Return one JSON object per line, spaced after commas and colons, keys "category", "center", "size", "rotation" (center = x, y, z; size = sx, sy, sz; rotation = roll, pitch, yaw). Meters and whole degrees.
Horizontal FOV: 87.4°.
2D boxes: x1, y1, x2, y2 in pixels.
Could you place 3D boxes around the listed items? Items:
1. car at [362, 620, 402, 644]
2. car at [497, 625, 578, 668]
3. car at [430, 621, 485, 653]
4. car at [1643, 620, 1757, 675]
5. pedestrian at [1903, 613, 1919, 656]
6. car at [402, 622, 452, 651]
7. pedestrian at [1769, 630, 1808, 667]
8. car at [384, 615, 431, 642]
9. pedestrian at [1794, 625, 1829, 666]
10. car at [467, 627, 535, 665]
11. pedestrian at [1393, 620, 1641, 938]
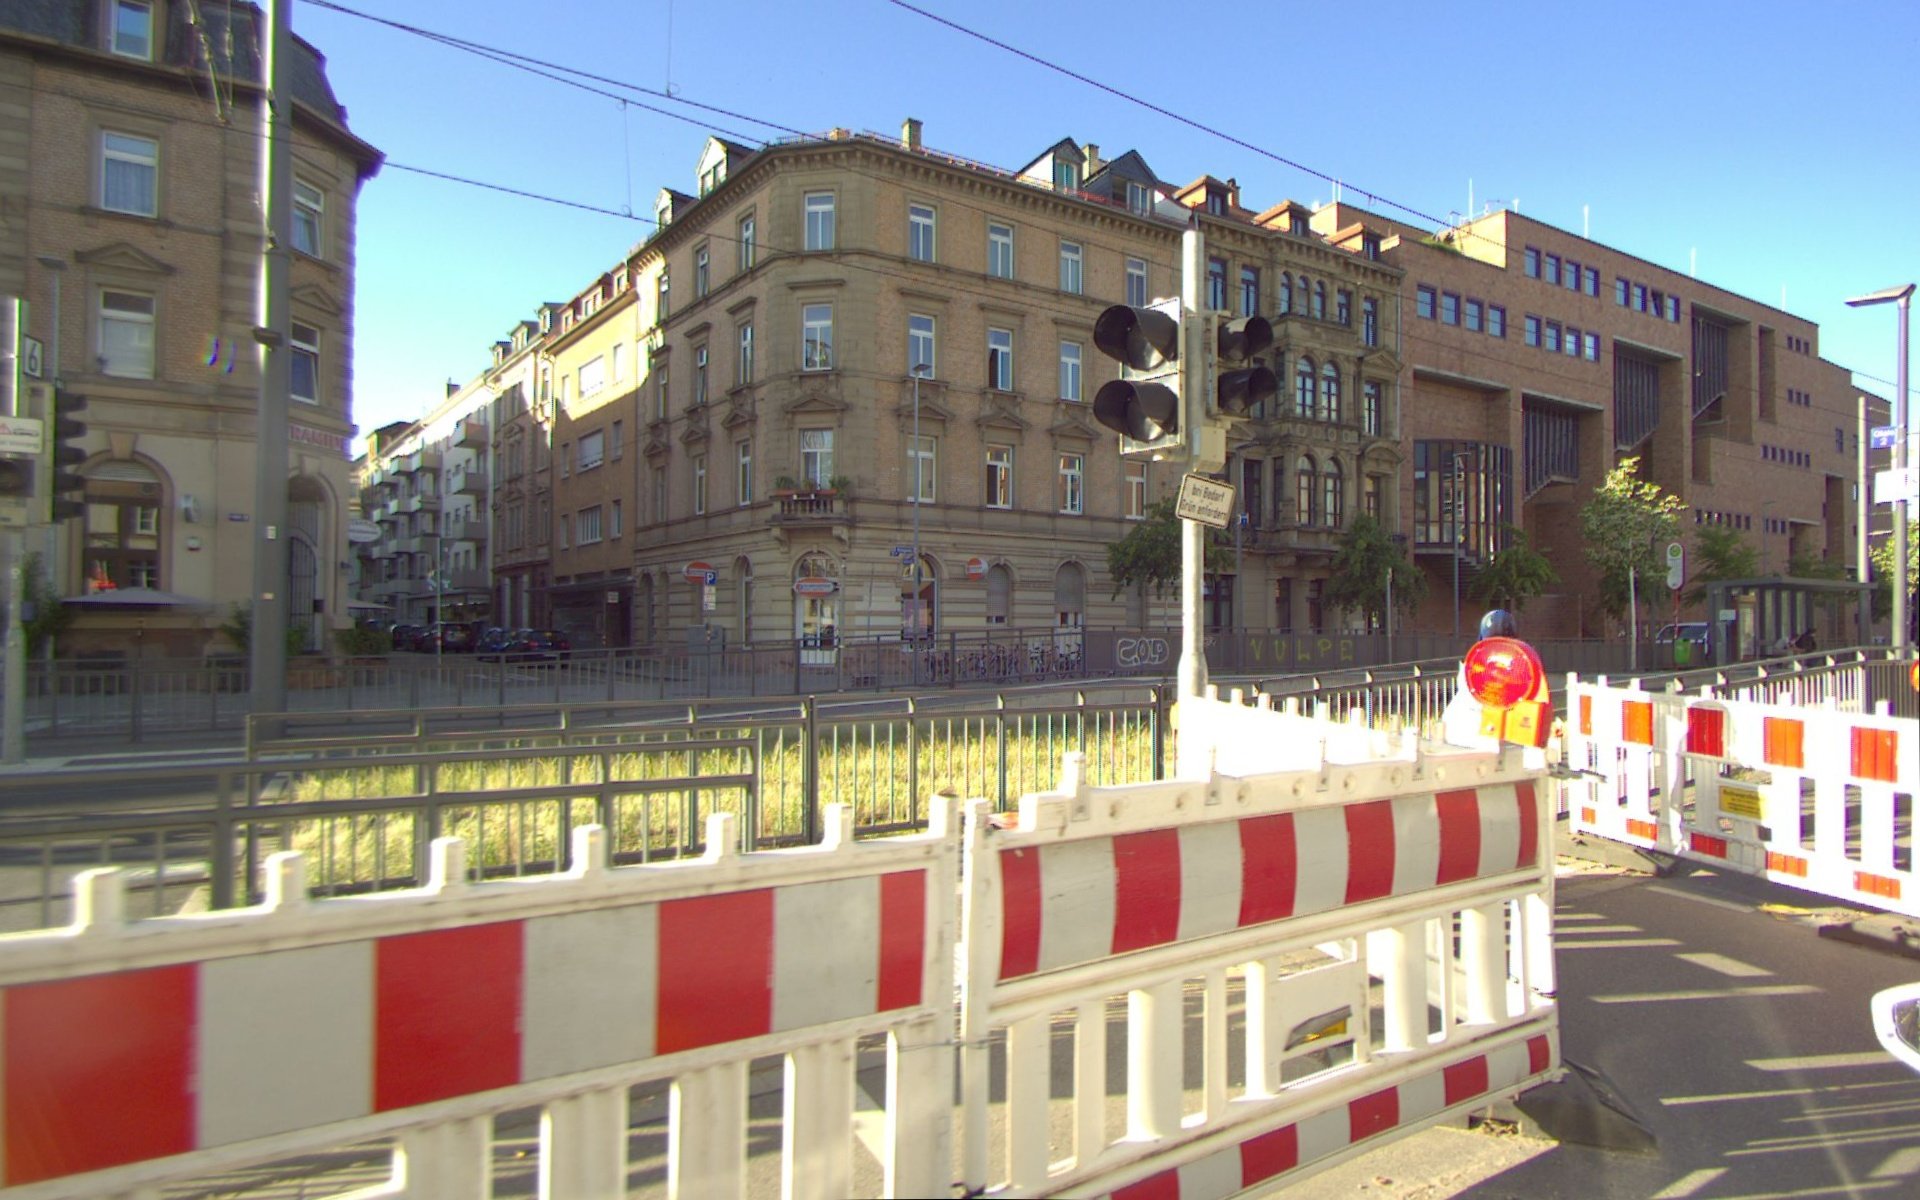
{"category": "car", "center": [-38.507, 2.145, 66.924], "size": [1.723, 1.539, 3.749], "rotation": [2, -2, -39]}
{"category": "car", "center": [-16.293, 1.765, 38.655], "size": [1.812, 1.539, 3.955], "rotation": [2, -2, -39]}
{"category": "car", "center": [-25.499, 1.843, 50.911], "size": [1.723, 1.539, 3.749], "rotation": [2, -2, -39]}
{"category": "car", "center": [27.368, 1.725, 37.101], "size": [4.535, 1.905, 1.982], "rotation": [2, -2, -34]}
{"category": "pedestrian", "center": [37.282, 1.350, 39.334], "size": [0.411, 1.670, 0.376], "rotation": [1, 1, -30]}
{"category": "car", "center": [-29.162, 1.987, 54.926], "size": [1.723, 1.539, 3.749], "rotation": [2, -2, -39]}
{"category": "pedestrian", "center": [26.591, 1.555, 32.240], "size": [0.713, 1.183, 0.718], "rotation": [1, -3, -30]}
{"category": "car", "center": [-32.309, 1.678, 58.722], "size": [1.723, 1.539, 3.749], "rotation": [2, -2, -39]}
{"category": "pedestrian", "center": [28.281, 1.514, 33.347], "size": [0.713, 1.326, 0.643], "rotation": [1, -3, -30]}
{"category": "car", "center": [-19.580, 1.926, 42.745], "size": [1.723, 1.539, 3.749], "rotation": [2, -2, -39]}
{"category": "pedestrian", "center": [2.908, 0.852, 5.266], "size": [0.936, 1.477, 0.785], "rotation": [1, -2, -32]}
